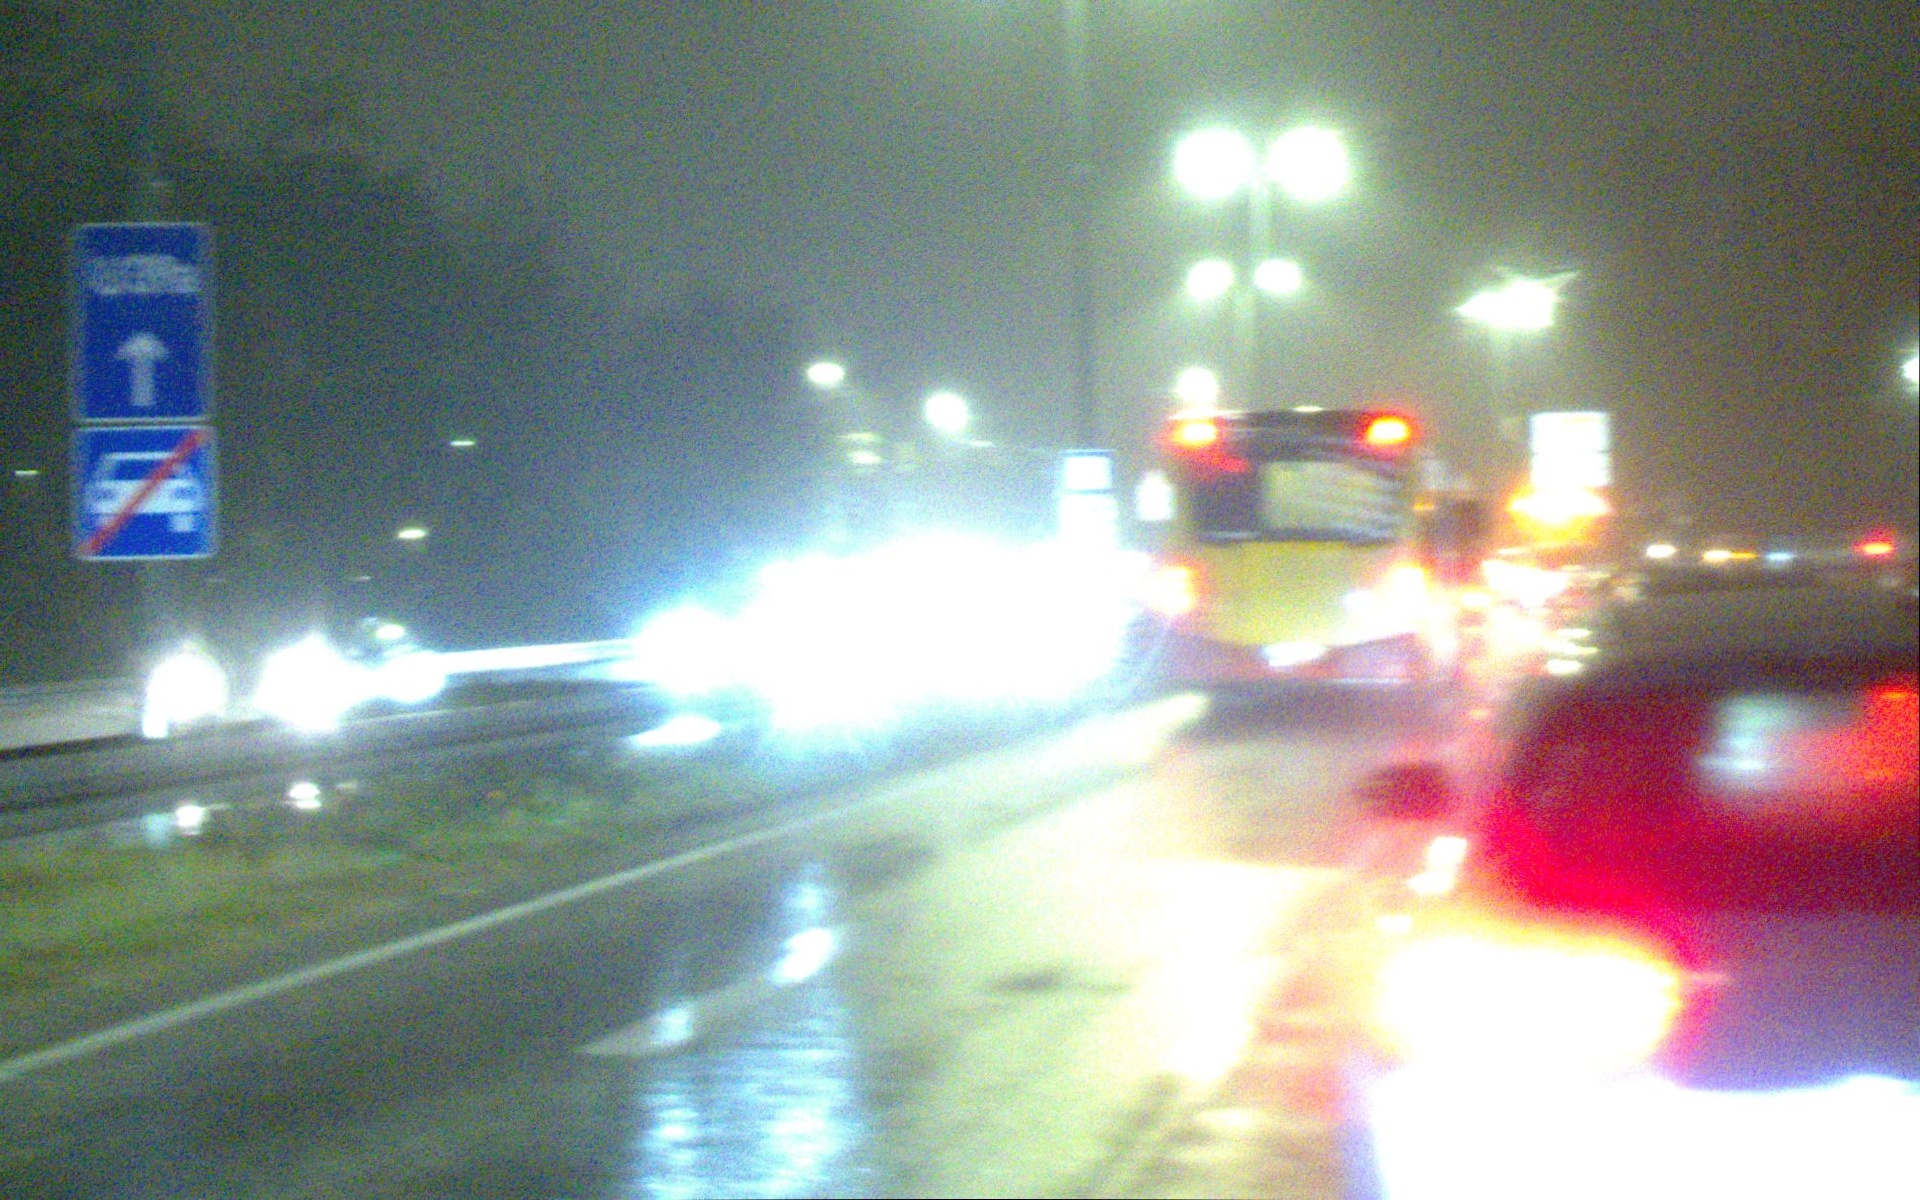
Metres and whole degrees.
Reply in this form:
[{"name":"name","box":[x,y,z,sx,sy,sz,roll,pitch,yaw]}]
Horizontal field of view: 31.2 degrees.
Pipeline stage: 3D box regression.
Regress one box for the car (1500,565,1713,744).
[{"name":"car","box":[5.959,0.459,31.993,1.740,1.559,3.776,0,1,8]}]

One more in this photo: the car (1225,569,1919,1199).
[{"name":"car","box":[1.699,0.688,6.796,1.822,1.479,4.565,-1,0,11]}]

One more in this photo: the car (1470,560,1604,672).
[{"name":"car","box":[8.626,0.214,51.614,1.820,1.585,3.776,-1,0,8]}]

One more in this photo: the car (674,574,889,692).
[{"name":"car","box":[-2.185,0.379,43.342,1.611,1.377,4.744,-1,1,11]}]

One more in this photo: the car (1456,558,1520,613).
[{"name":"car","box":[15.797,-0.446,102.930,1.820,1.585,3.775,-1,0,8]}]

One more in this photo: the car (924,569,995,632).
[{"name":"car","box":[0.015,0.013,112.091,1.994,2.007,3.999,0,0,5]}]

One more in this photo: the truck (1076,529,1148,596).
[{"name":"truck","box":[6.060,-1.527,137.525,1.855,2.384,4.781,-3,3,-9]}]

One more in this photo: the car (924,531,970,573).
[{"name":"car","box":[-0.669,-2.391,171.527,2.121,2.007,4.000,0,0,-2]}]

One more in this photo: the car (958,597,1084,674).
[{"name":"car","box":[1.316,0.718,71.537,1.856,1.471,4.777,-1,0,10]}]

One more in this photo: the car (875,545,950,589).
[{"name":"car","box":[-2.261,-1.553,162.805,1.993,2.007,4.001,0,0,-27]}]

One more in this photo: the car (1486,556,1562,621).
[{"name":"car","box":[14.434,-0.304,88.147,1.820,1.585,3.775,-1,0,8]}]

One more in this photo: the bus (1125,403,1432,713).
[{"name":"bus","box":[3.701,-0.455,37.933,2.816,3.014,8.684,0,1,9]}]

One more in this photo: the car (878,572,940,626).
[{"name":"car","box":[-1.931,-0.037,131.085,1.994,2.007,3.999,0,0,5]}]

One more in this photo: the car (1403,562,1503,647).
[{"name":"car","box":[9.214,0.063,64.181,1.780,1.538,3.873,0,1,8]}]

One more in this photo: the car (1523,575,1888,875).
[{"name":"car","box":[4.035,0.590,19.206,1.732,1.444,4.723,0,1,9]}]

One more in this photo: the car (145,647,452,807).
[{"name":"car","box":[-6.768,1.269,35.610,1.611,1.377,4.162,-3,0,11]}]

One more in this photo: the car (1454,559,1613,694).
[{"name":"car","box":[7.220,0.302,43.570,1.820,1.585,3.776,-1,0,8]}]
